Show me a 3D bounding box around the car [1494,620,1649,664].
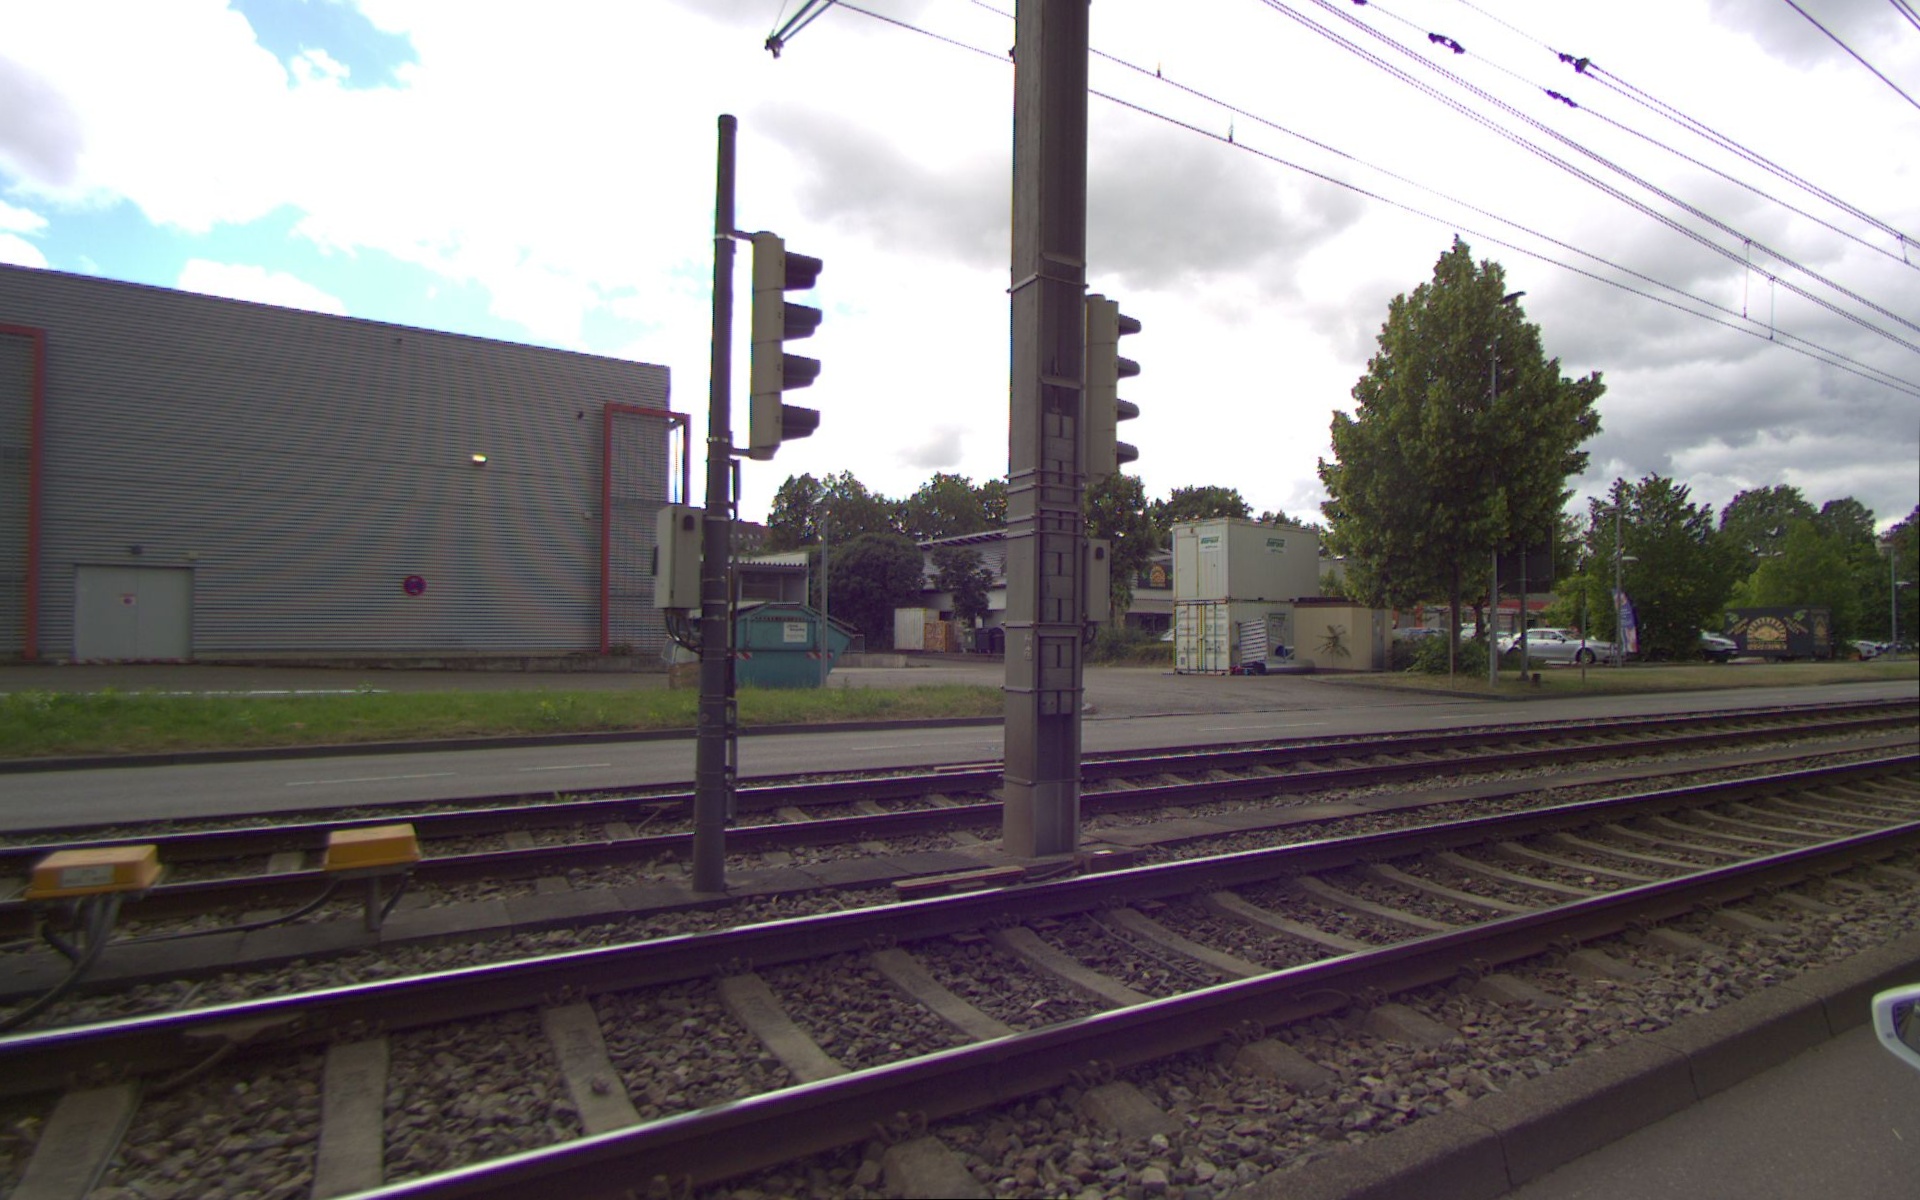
[{"bbox_3d":[24.776,1.677,40.892,2.620,1.650,4.761,0,-2,-29],"label":"car"}]

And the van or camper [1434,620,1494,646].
[{"bbox_3d":[42.521,2.792,84.813,1.803,2.173,4.235,1,-2,-34],"label":"van or camper"}]

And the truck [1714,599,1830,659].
[{"bbox_3d":[40.486,1.466,50.153,2.350,2.859,3.965,1,-2,-32],"label":"truck"}]

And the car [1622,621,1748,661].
[{"bbox_3d":[32.809,1.853,45.578,1.973,1.750,4.199,1,-2,-31],"label":"car"}]

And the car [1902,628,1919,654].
[{"bbox_3d":[63.193,2.645,64.274,1.859,1.656,3.963,1,-2,-34],"label":"car"}]

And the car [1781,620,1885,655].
[{"bbox_3d":[48.185,2.071,55.504,1.859,1.821,3.963,1,-2,-34],"label":"car"}]

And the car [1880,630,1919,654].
[{"bbox_3d":[60.657,2.654,62.822,1.662,1.491,4.284,1,-2,-32],"label":"car"}]

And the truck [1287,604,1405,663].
[{"bbox_3d":[16.781,1.457,43.563,5.202,2.414,1.984,1,-2,-31],"label":"truck"}]
